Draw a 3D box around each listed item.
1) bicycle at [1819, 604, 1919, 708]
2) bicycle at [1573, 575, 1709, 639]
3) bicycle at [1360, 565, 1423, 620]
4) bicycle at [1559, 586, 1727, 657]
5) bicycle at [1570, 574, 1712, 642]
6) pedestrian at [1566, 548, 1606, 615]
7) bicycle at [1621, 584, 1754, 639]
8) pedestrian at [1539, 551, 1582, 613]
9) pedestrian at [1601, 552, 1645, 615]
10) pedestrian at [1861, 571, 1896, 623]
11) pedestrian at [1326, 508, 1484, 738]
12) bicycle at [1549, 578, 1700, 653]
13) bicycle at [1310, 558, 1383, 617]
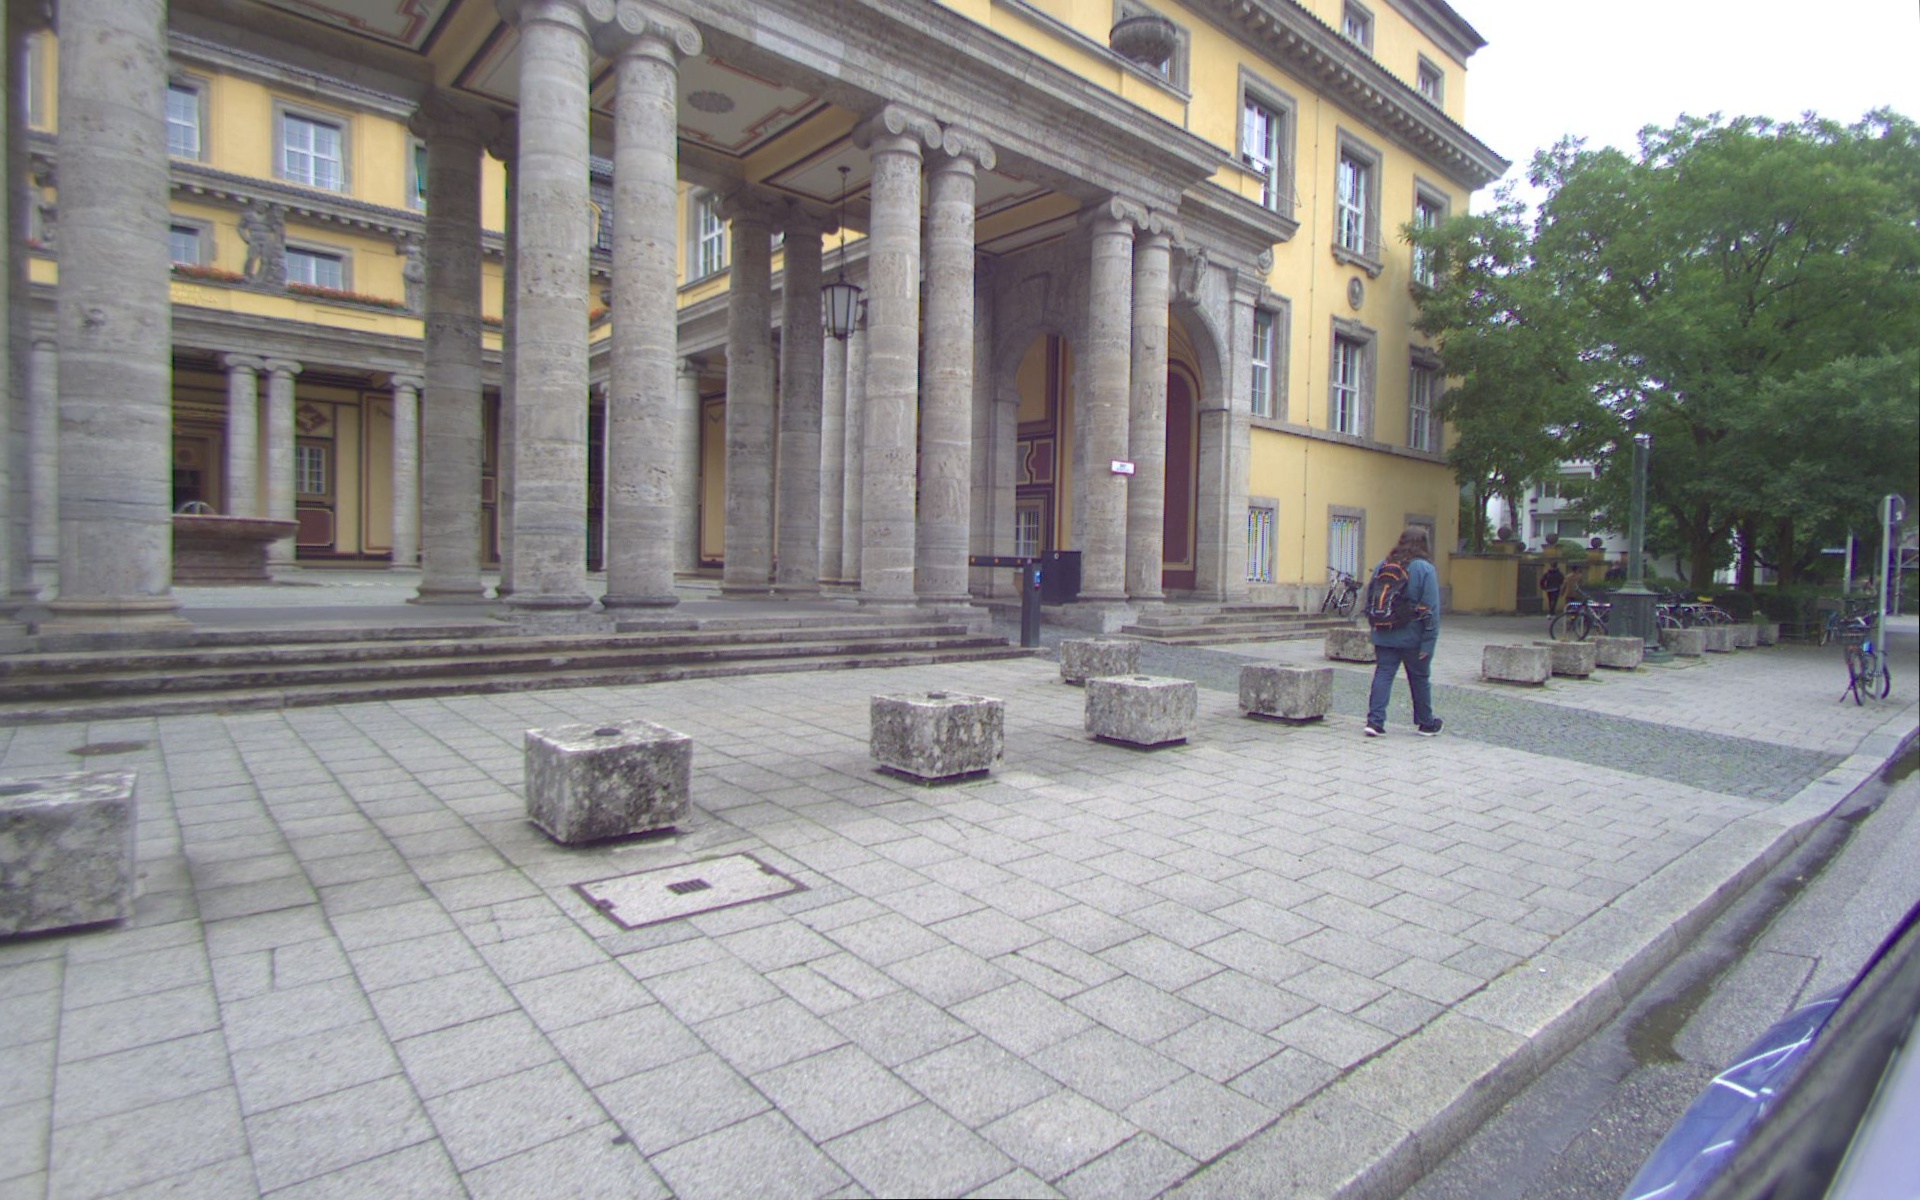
[{"bbox_3d":[11.545,0.653,12.742,2.225,1.113,0.762,-1,5,-42],"label":"bicycle"},{"bbox_3d":[14.327,0.127,21.334,2.255,1.035,0.593,9,7,38],"label":"bicycle"},{"bbox_3d":[10.914,-0.208,25.555,2.128,1.323,0.601,-1,3,-42],"label":"bicycle"},{"bbox_3d":[12.133,0.343,18.036,2.361,1.018,0.668,6,4,41],"label":"bicycle"},{"bbox_3d":[13.804,0.137,20.568,2.255,1.071,0.593,9,7,38],"label":"bicycle"},{"bbox_3d":[18.116,-0.550,29.304,0.807,1.887,0.658,-1,5,-41],"label":"pedestrian"},{"bbox_3d":[16.120,0.237,22.495,0.591,1.023,2.263,1,4,-38],"label":"bicycle"},{"bbox_3d":[17.766,-0.555,29.946,0.827,1.764,0.741,-1,5,-41],"label":"pedestrian"},{"bbox_3d":[20.656,-0.521,31.528,1.017,1.887,0.782,-1,5,-41],"label":"pedestrian"},{"bbox_3d":[31.040,-0.105,34.191,0.649,1.753,0.797,-1,0,-42],"label":"pedestrian"},{"bbox_3d":[3.708,0.153,8.428,1.038,1.767,0.789,0,3,-42],"label":"pedestrian"},{"bbox_3d":[12.531,0.260,19.149,2.255,1.107,0.593,9,7,38],"label":"bicycle"},{"bbox_3d":[9.187,-0.301,24.011,2.225,1.323,0.601,-1,3,-42],"label":"bicycle"}]
